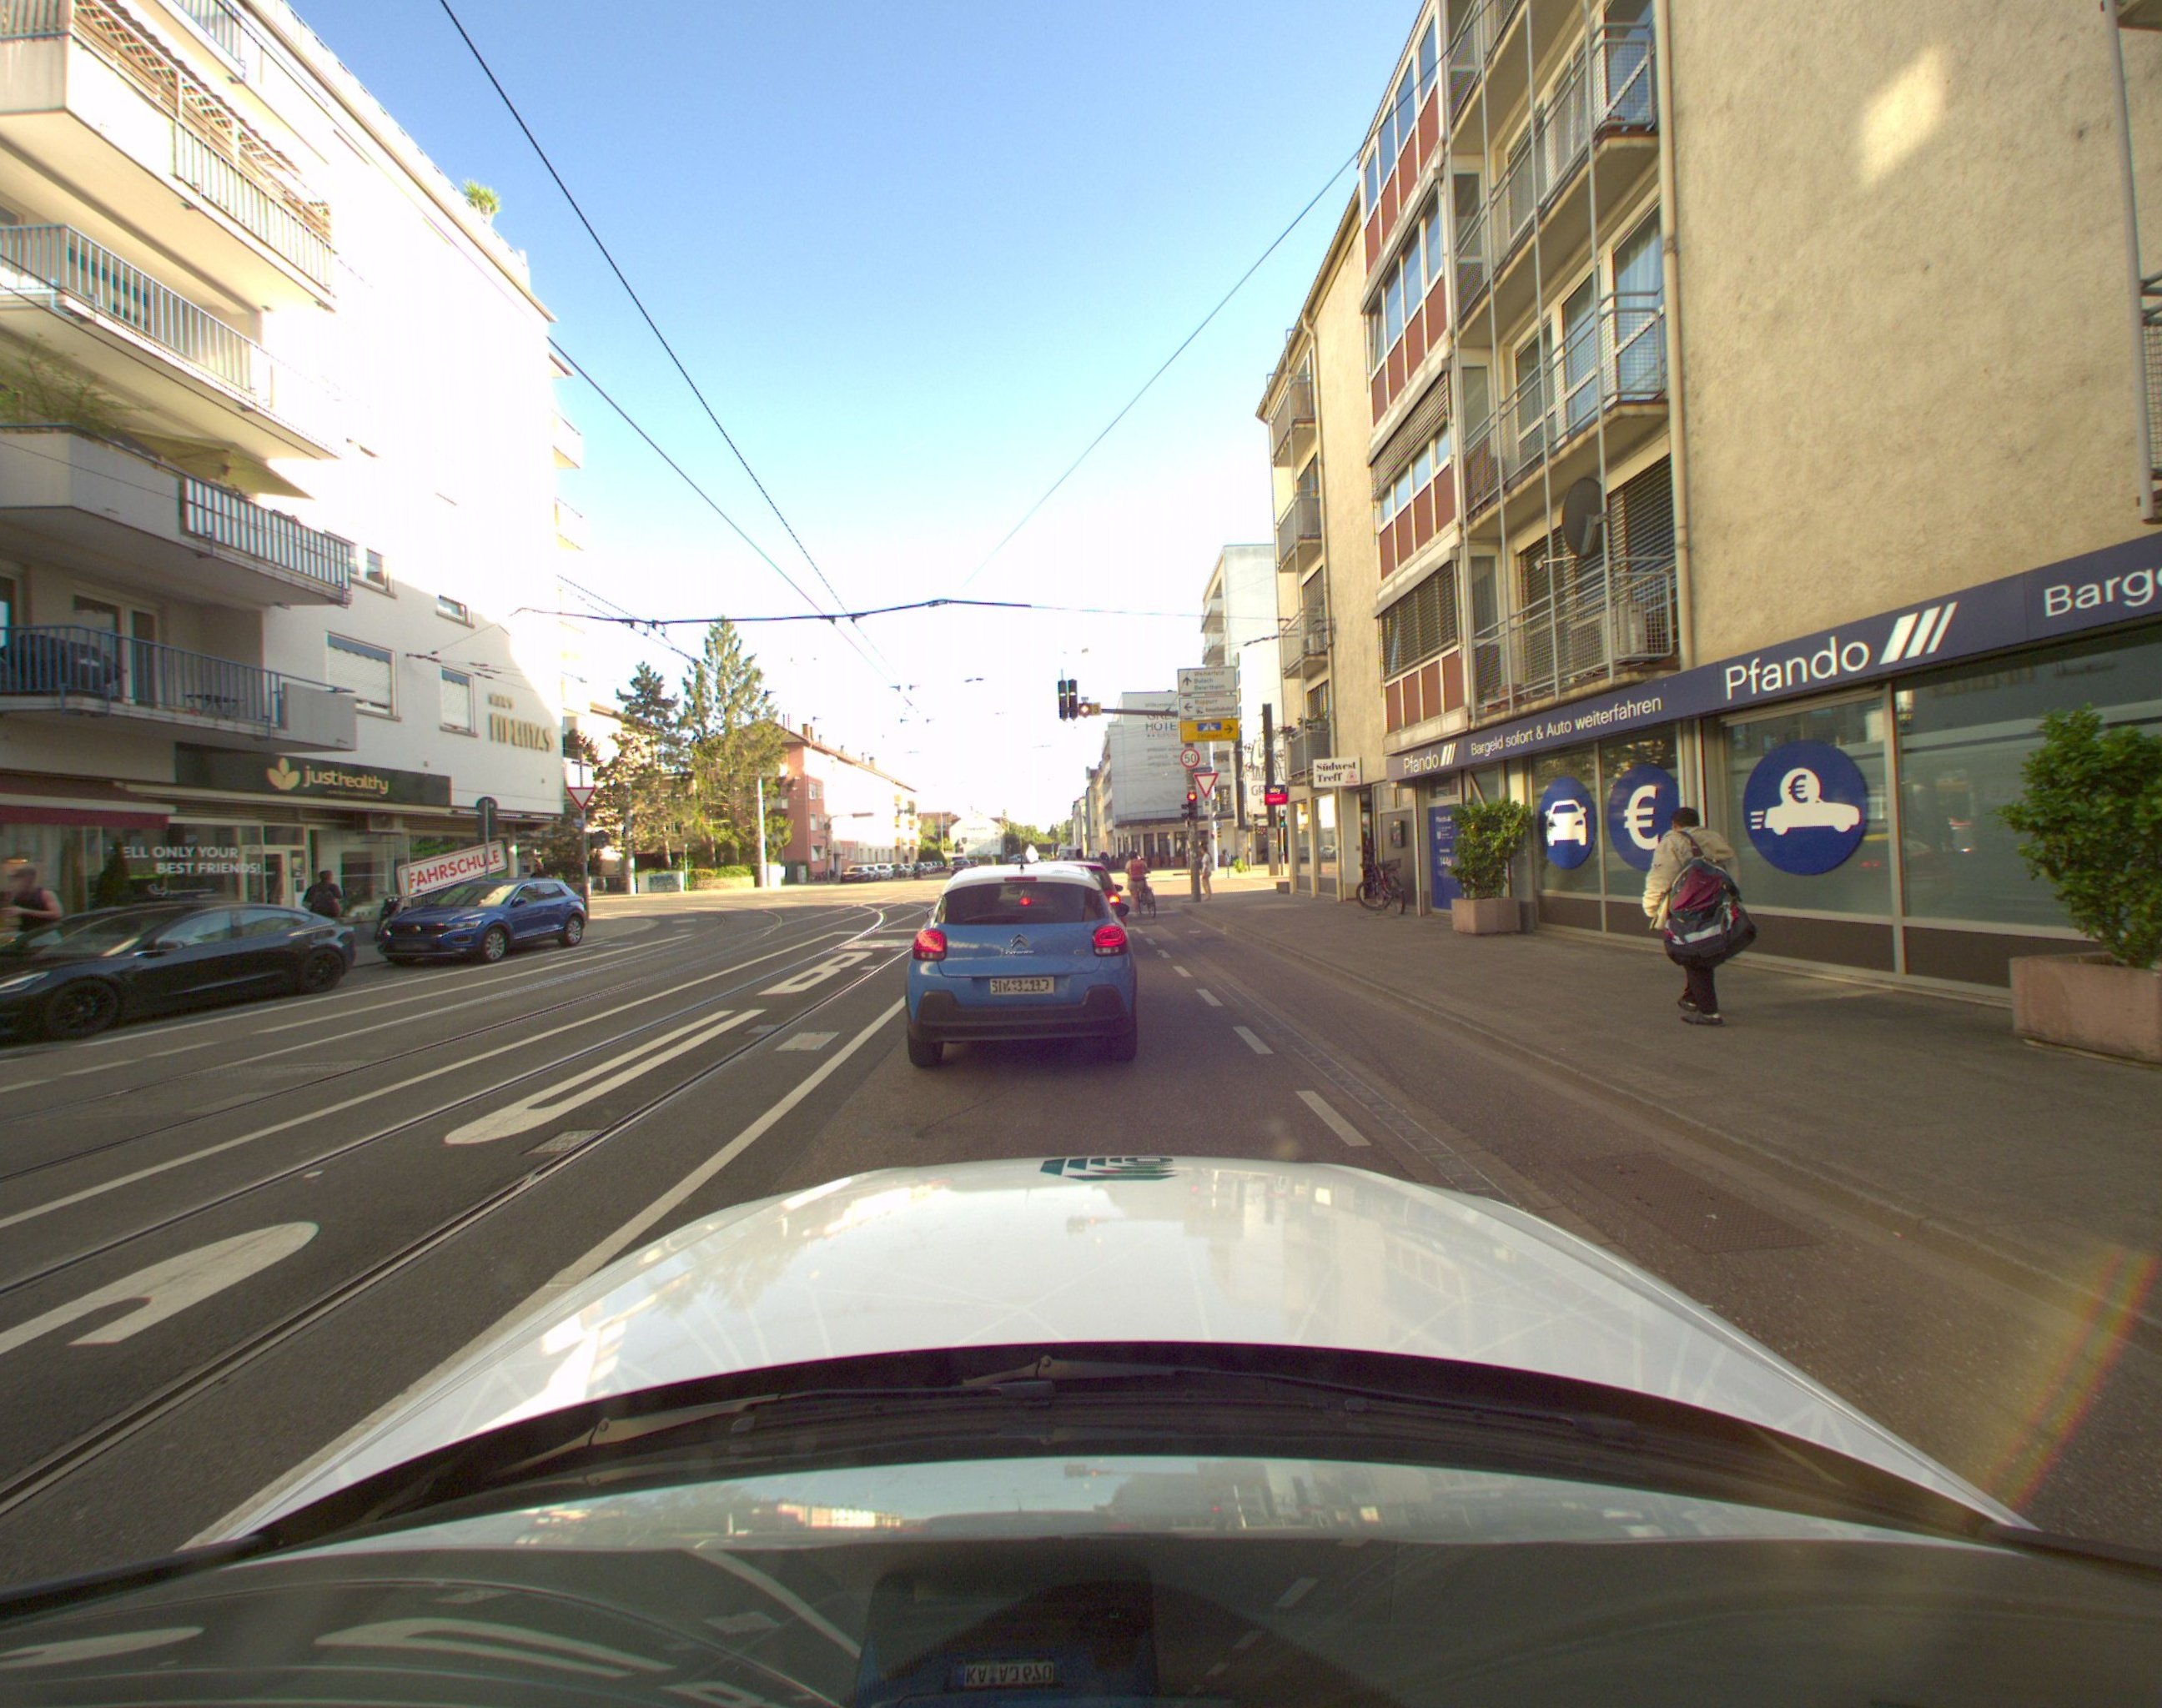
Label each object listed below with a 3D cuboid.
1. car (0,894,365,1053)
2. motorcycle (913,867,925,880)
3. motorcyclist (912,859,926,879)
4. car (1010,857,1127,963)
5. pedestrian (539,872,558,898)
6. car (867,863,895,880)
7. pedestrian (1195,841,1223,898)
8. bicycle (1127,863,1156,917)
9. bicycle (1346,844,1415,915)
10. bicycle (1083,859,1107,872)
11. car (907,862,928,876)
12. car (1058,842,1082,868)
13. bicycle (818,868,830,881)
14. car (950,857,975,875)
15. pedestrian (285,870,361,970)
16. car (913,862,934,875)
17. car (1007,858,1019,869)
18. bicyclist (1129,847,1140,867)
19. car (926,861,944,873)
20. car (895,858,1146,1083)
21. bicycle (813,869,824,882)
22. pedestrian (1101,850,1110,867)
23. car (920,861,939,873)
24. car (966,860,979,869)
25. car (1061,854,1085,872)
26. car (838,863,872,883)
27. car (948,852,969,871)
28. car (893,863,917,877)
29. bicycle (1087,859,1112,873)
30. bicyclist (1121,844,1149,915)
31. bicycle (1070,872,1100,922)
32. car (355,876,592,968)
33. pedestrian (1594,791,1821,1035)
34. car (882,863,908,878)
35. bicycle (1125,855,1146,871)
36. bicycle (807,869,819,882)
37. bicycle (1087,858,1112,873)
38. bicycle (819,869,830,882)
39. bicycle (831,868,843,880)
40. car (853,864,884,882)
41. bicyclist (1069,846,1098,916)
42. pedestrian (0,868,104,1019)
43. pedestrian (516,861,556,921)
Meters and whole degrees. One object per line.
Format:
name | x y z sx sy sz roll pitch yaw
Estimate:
car | -11.984 1.331 10.430 1.720 1.403 4.486 0 0 -2
motorcycle | -13.486 1.596 67.768 0.751 0.976 2.092 -2 0 -7
motorcyclist | -13.477 1.268 67.701 0.990 1.631 0.737 -2 0 -7
car | -0.227 0.812 13.716 1.675 1.462 3.997 -1 0 -2
pedestrian | -36.574 2.143 55.914 0.805 1.702 0.681 -2 0 1
car | -19.563 1.682 79.862 1.947 1.519 3.995 -2 0 -4
pedestrian | 3.829 0.457 24.358 0.747 1.635 0.742 -2 0 7
bicycle | 1.532 0.889 20.734 0.611 1.264 1.911 -2 0 2
bicycle | 5.758 0.460 15.747 0.637 1.264 1.911 -2 0 2
bicycle | 1.157 0.955 68.452 1.901 1.064 0.641 -2 0 -6
car | -19.855 1.783 99.032 1.947 1.519 3.995 -2 0 -4
car | -1.041 0.087 73.455 2.074 2.269 5.647 -1 0 -2
bicycle | -23.053 1.840 73.113 0.536 1.082 1.908 -2 0 -4
car | -11.242 1.123 77.402 2.002 1.627 5.044 -2 0 -5
pedestrian | -13.633 1.169 14.663 0.601 1.708 0.730 -2 0 -1
car | -20.101 1.798 104.046 1.947 1.519 3.995 -2 0 -4
car | -14.273 1.977 171.418 2.333 2.039 5.044 -2 0 -4
bicyclist | 4.047 0.225 61.521 0.723 1.434 0.607 -2 0 7
car | -20.730 1.849 115.690 1.947 1.519 3.995 -2 0 -4
car | -0.453 0.793 7.507 1.675 1.462 3.997 -1 0 -2
bicycle | -21.977 1.791 68.194 0.537 1.082 1.905 -2 0 -9
pedestrian | 2.101 0.398 70.387 0.520 1.420 0.550 -3 0 22
car | -20.302 1.770 109.334 1.947 1.519 3.995 -2 0 -4
car | -19.343 1.813 145.251 1.947 1.519 3.995 -2 0 -4
car | -0.718 0.743 67.994 1.783 1.359 3.909 -2 0 -4
car | -19.293 1.598 69.627 1.947 1.519 3.995 -2 0 -4
car | -18.131 1.101 120.583 2.489 2.712 5.828 -2 0 -5
car | -19.985 1.787 92.603 1.947 1.519 3.995 -2 0 -4
bicycle | 1.523 0.962 67.249 1.901 1.064 0.641 -2 0 -6
bicyclist | 1.368 0.635 20.701 0.598 1.746 1.084 -2 0 2
bicycle | 0.076 1.024 19.873 0.615 1.103 1.884 -2 0 -2
car | -11.879 1.244 16.333 1.720 1.505 4.113 0 0 -2
pedestrian | 4.469 0.391 5.885 0.871 1.571 0.868 -4 0 -1
car | -19.733 1.737 86.535 1.947 1.519 3.995 -2 0 -4
bicycle | 4.098 0.681 61.514 1.480 1.091 0.607 -2 0 8
bicycle | -22.383 1.791 68.084 0.640 1.082 1.905 -2 0 -9
bicycle | 1.514 0.932 65.943 1.901 1.064 0.641 -2 0 -6
bicycle | -21.599 1.791 68.479 0.537 1.082 1.905 -2 0 -9
bicycle | -22.719 1.858 75.809 0.608 1.082 1.908 -2 0 -4
car | -19.574 1.716 75.250 1.947 1.519 4.040 -2 0 -4
bicyclist | 0.046 0.648 19.771 0.615 1.630 0.759 -2 0 -2
pedestrian | -13.572 1.139 10.624 0.668 1.857 0.753 -2 0 -2
pedestrian | -17.323 1.171 25.891 0.761 1.834 0.725 -2 0 28
